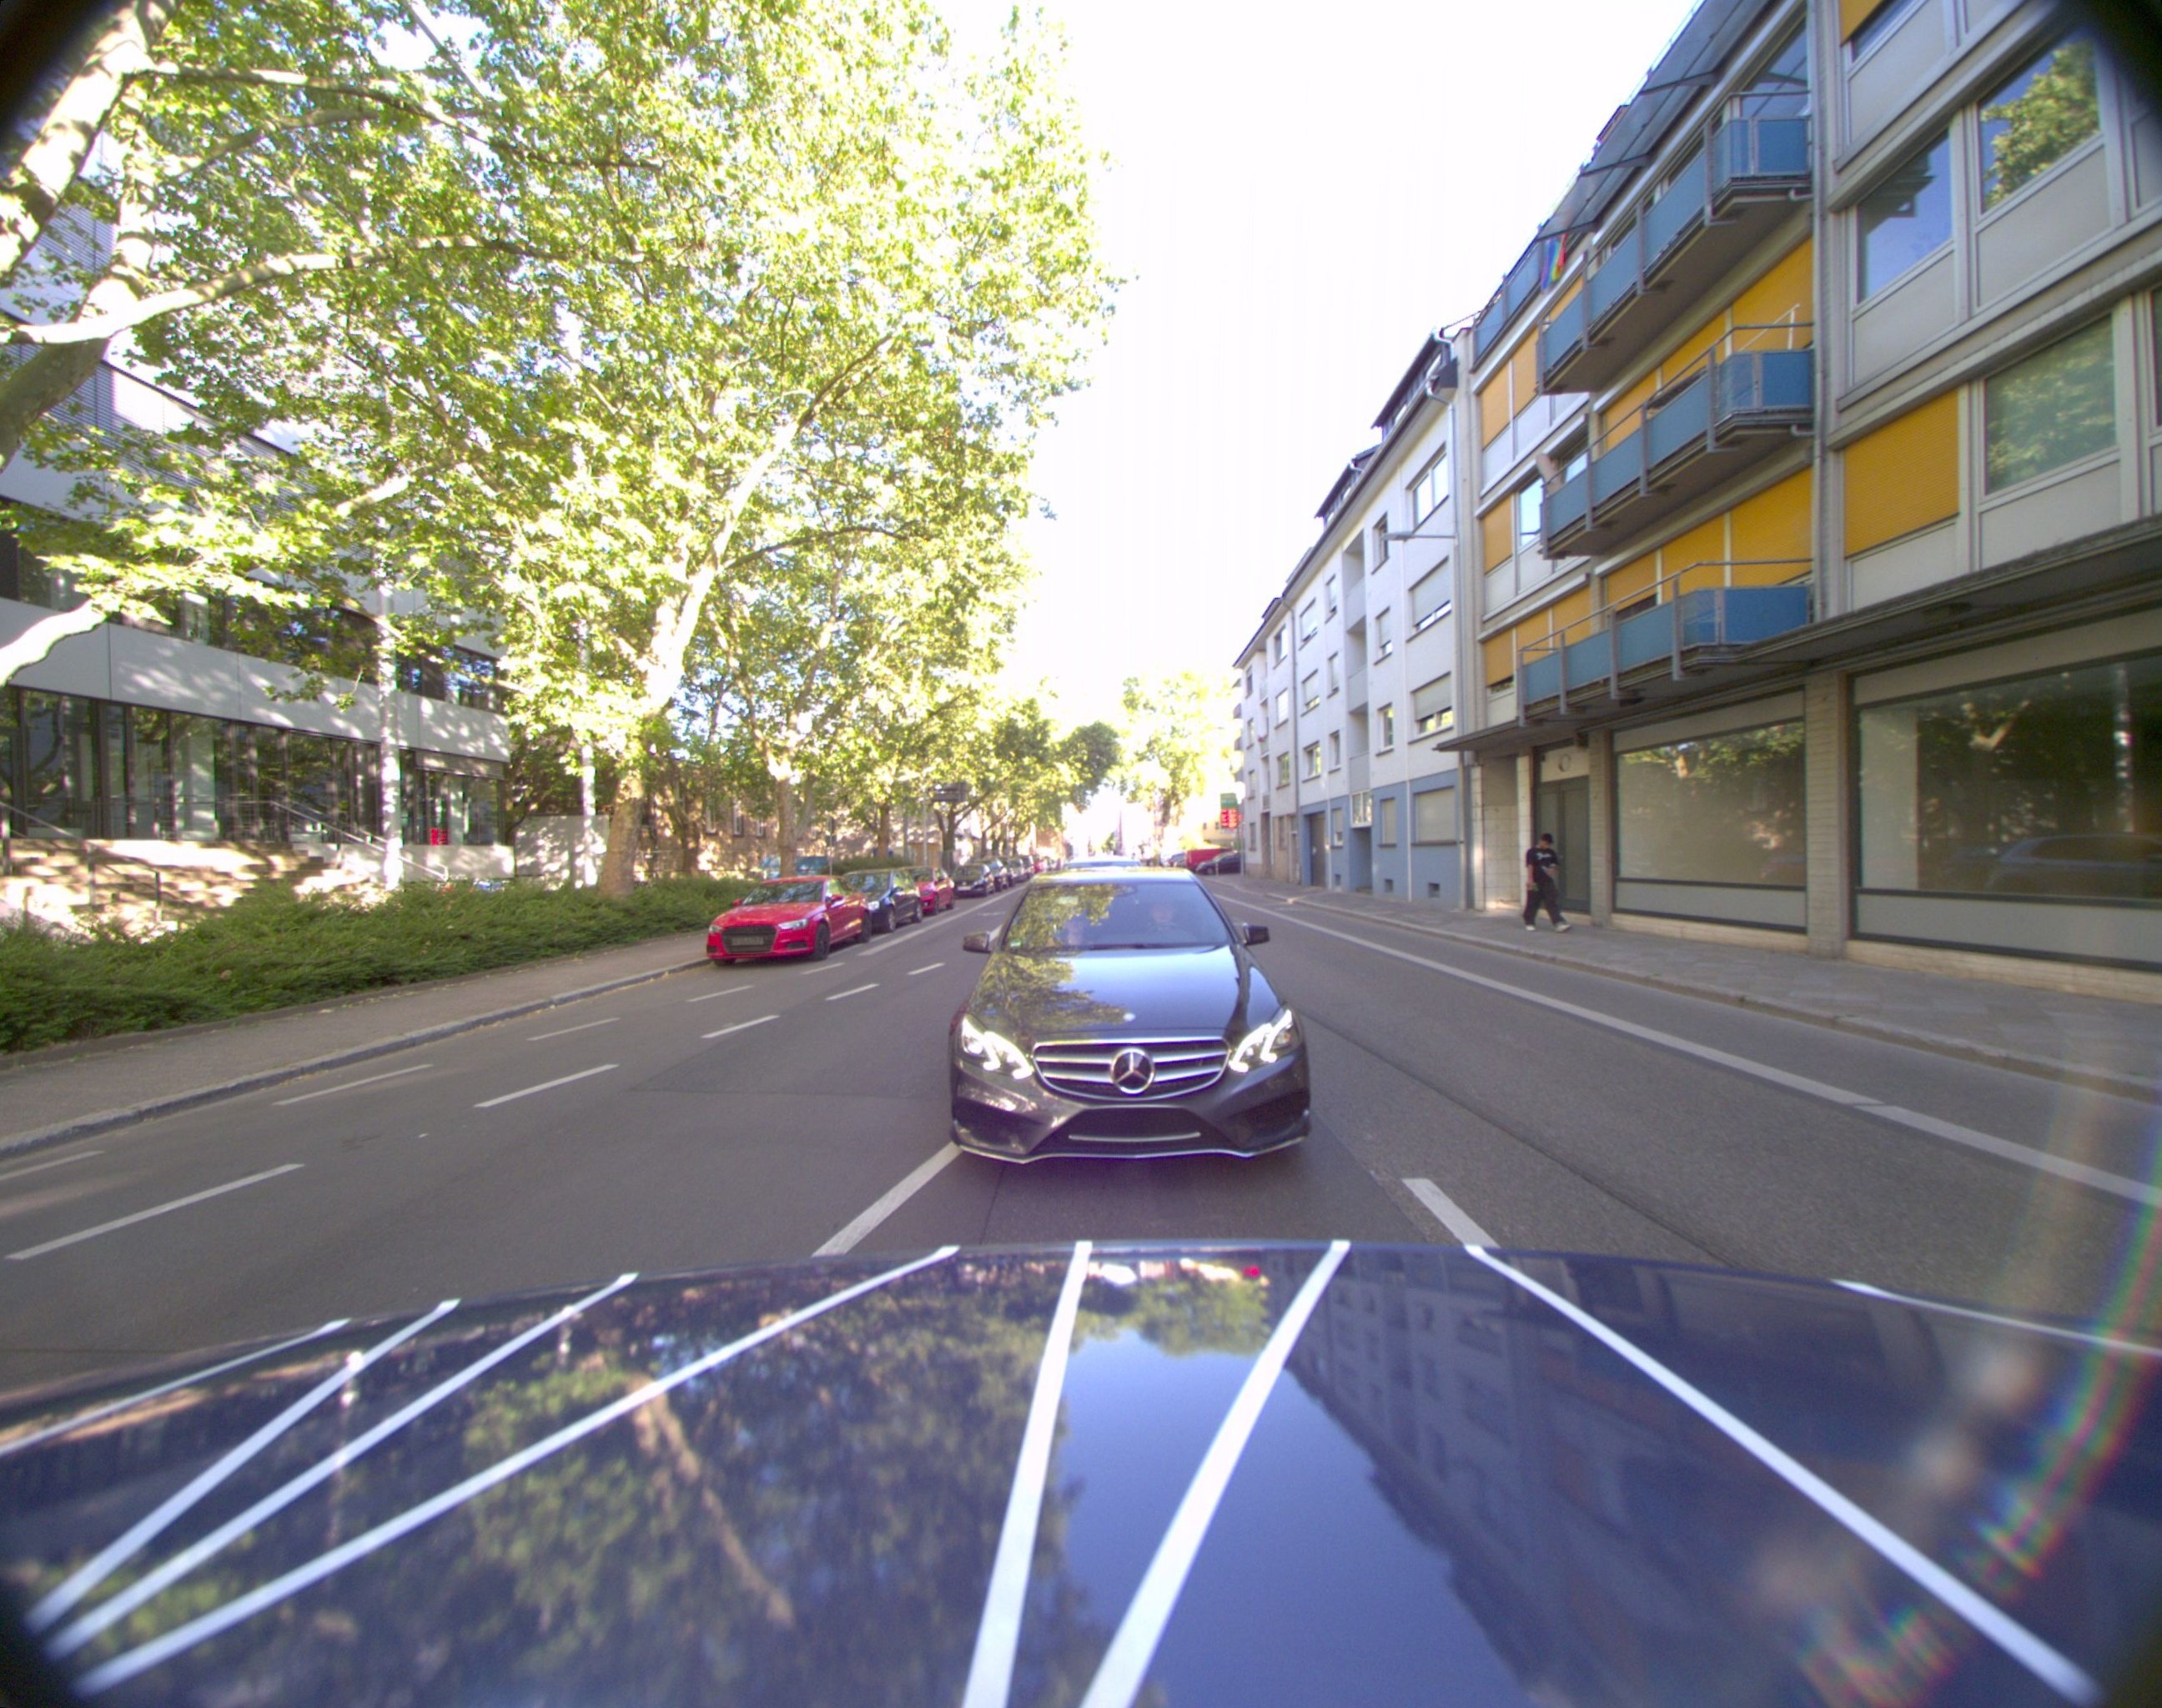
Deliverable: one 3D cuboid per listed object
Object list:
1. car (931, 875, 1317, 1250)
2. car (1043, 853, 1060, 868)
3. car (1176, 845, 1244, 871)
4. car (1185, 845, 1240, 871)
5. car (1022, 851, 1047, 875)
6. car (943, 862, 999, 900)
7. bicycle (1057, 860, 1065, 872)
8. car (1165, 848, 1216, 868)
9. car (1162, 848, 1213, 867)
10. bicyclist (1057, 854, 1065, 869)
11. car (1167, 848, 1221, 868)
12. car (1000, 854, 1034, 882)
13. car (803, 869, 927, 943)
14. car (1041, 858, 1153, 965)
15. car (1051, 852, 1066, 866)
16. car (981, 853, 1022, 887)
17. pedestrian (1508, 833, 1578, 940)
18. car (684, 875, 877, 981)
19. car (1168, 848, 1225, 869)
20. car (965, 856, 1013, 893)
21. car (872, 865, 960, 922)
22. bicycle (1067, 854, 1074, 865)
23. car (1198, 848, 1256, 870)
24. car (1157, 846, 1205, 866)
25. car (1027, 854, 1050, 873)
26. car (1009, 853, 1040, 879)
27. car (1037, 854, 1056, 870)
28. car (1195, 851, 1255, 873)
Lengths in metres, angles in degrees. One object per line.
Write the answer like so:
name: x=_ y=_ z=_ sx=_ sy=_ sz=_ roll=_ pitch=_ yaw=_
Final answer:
car: x=0.217 y=0.984 z=5.356 sx=1.667 sy=1.499 sz=4.000 roll=-1 pitch=0 yaw=1
car: x=-3.644 y=0.775 z=93.003 sx=1.755 sy=1.652 sz=4.447 roll=-3 pitch=0 yaw=1
car: x=10.640 y=0.291 z=63.104 sx=5.223 sy=1.969 sz=2.257 roll=-2 pitch=0 yaw=1
car: x=10.335 y=0.297 z=60.079 sx=3.997 sy=1.926 sz=1.867 roll=-2 pitch=0 yaw=1
car: x=-3.993 y=0.731 z=66.387 sx=1.755 sy=1.941 sz=4.447 roll=-3 pitch=0 yaw=1
car: x=-4.745 y=1.120 z=33.292 sx=1.755 sy=1.424 sz=3.909 roll=-3 pitch=0 yaw=1
bicycle: x=-1.971 y=1.190 z=75.670 sx=0.650 sy=1.053 sz=1.595 roll=-2 pitch=0 yaw=1
car: x=11.290 y=0.369 z=78.718 sx=4.991 sy=1.926 sz=2.083 roll=-2 pitch=0 yaw=1
car: x=11.326 y=0.344 z=81.184 sx=5.042 sy=1.926 sz=2.315 roll=-2 pitch=0 yaw=1
bicyclist: x=-1.984 y=0.736 z=75.686 sx=0.650 sy=1.427 sz=0.741 roll=-2 pitch=1 yaw=1
car: x=11.276 y=0.401 z=76.220 sx=5.054 sy=1.926 sz=2.161 roll=-2 pitch=0 yaw=1
car: x=-4.268 y=0.882 z=50.943 sx=1.755 sy=1.718 sz=4.447 roll=-3 pitch=0 yaw=1
car: x=-5.080 y=1.175 z=18.441 sx=1.755 sy=1.424 sz=3.909 roll=-3 pitch=0 yaw=1
car: x=0.276 y=0.887 z=13.608 sx=1.667 sy=1.563 sz=4.000 roll=-1 pitch=0 yaw=1
car: x=-3.012 y=0.651 z=103.201 sx=1.755 sy=1.652 sz=4.447 roll=-3 pitch=0 yaw=1
car: x=-4.549 y=0.873 z=44.060 sx=1.755 sy=1.810 sz=4.447 roll=-3 pitch=0 yaw=1
pedestrian: x=7.905 y=0.538 z=13.030 sx=0.663 sy=1.761 sz=0.793 roll=-2 pitch=1 yaw=1
car: x=-5.119 y=1.184 z=13.595 sx=1.755 sy=1.400 sz=4.000 roll=-3 pitch=0 yaw=1
car: x=11.103 y=0.440 z=73.520 sx=5.143 sy=1.926 sz=2.187 roll=-2 pitch=0 yaw=1
car: x=-4.558 y=0.978 z=38.262 sx=1.755 sy=1.644 sz=4.174 roll=-3 pitch=0 yaw=1
car: x=-5.029 y=1.148 z=23.654 sx=1.755 sy=1.459 sz=3.909 roll=-3 pitch=0 yaw=1
bicycle: x=-1.033 y=0.538 z=75.705 sx=0.574 sy=1.053 sz=1.595 roll=-2 pitch=0 yaw=1
car: x=10.917 y=0.388 z=56.990 sx=3.997 sy=1.552 sz=1.743 roll=-2 pitch=0 yaw=1
car: x=11.193 y=0.198 z=85.520 sx=5.143 sy=2.135 sz=2.187 roll=-2 pitch=0 yaw=1
car: x=-3.999 y=0.905 z=72.173 sx=1.755 sy=1.652 sz=4.447 roll=-3 pitch=0 yaw=1
car: x=-4.098 y=0.824 z=55.754 sx=1.755 sy=1.753 sz=4.447 roll=-3 pitch=0 yaw=1
car: x=-3.773 y=0.872 z=83.513 sx=1.755 sy=1.652 sz=4.447 roll=-3 pitch=0 yaw=1
car: x=10.361 y=0.559 z=54.780 sx=3.997 sy=1.412 sz=1.743 roll=-2 pitch=0 yaw=1
